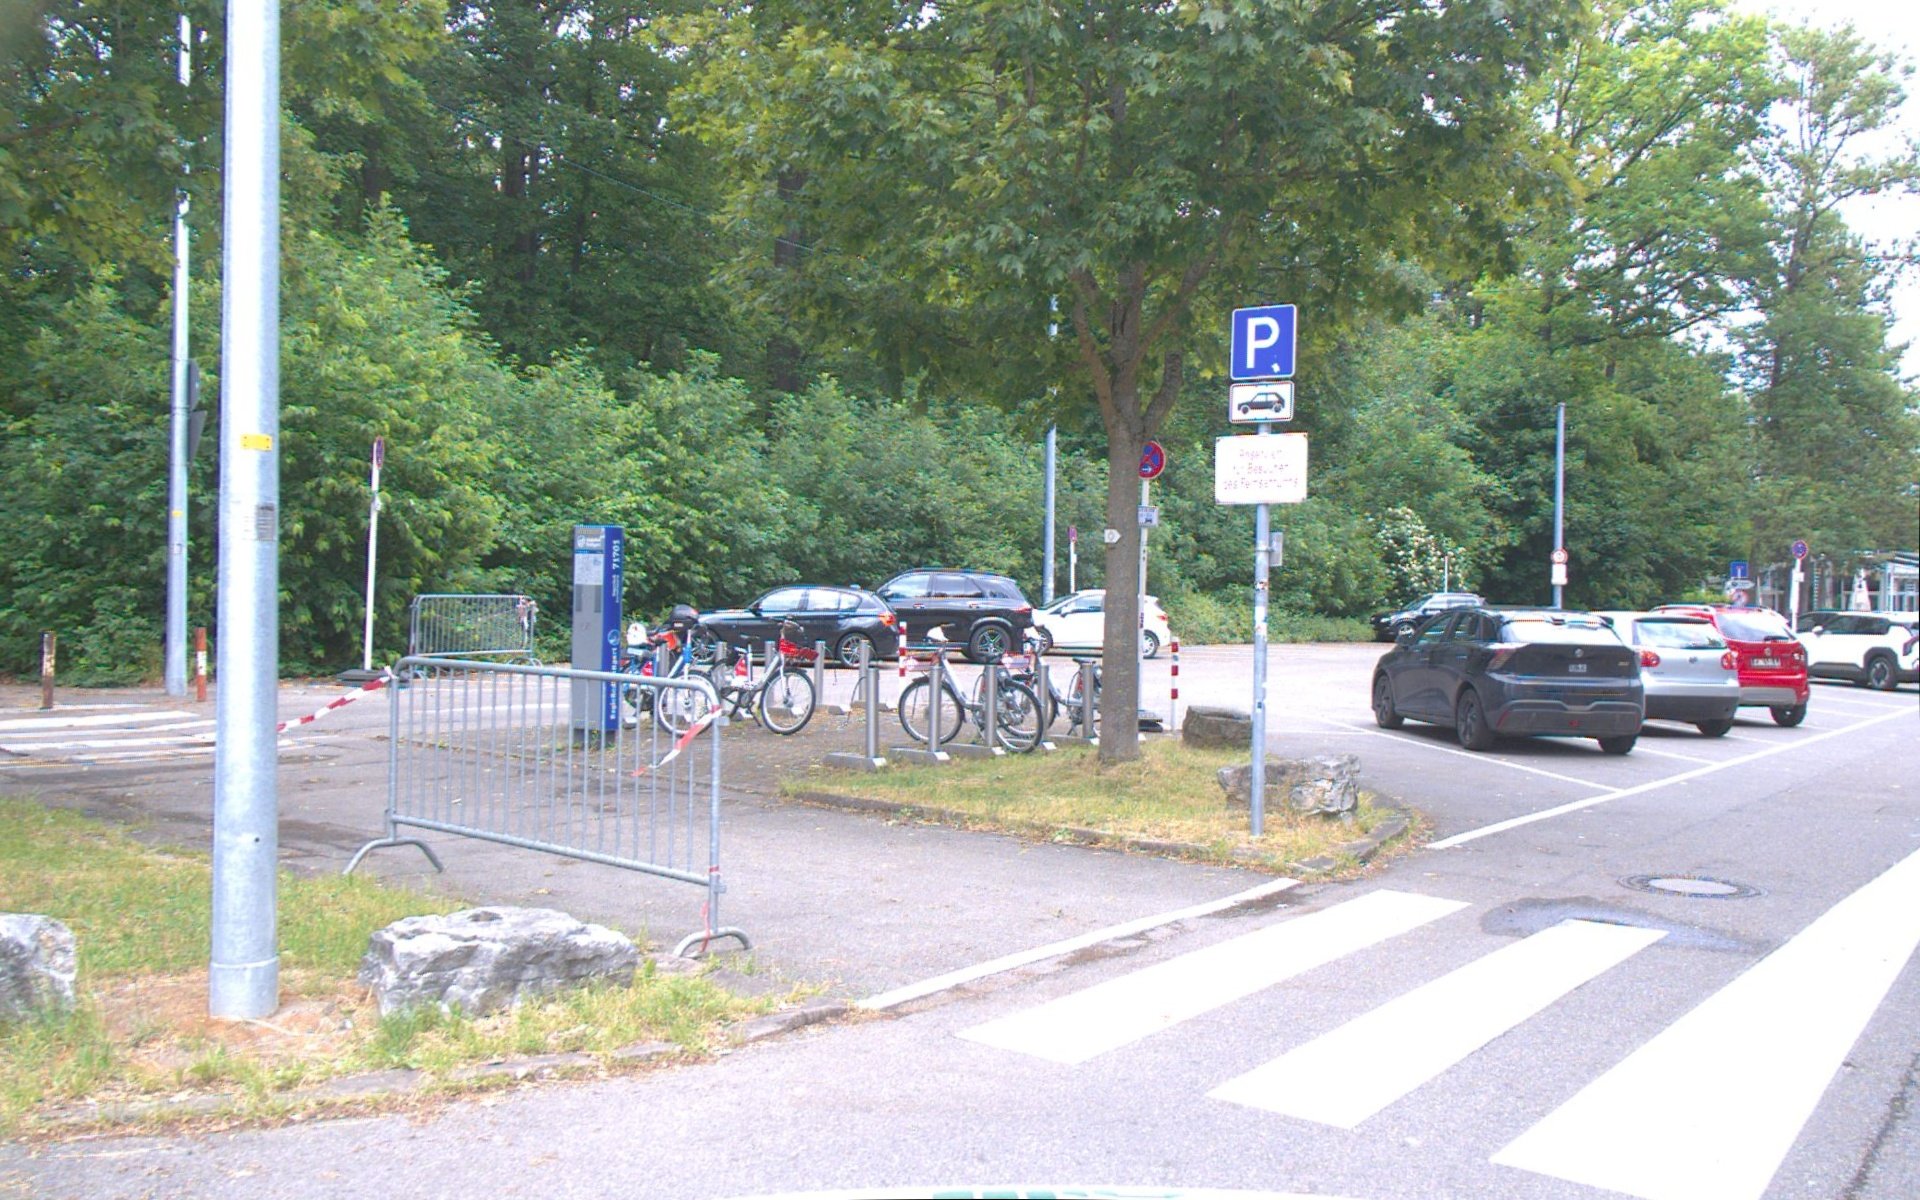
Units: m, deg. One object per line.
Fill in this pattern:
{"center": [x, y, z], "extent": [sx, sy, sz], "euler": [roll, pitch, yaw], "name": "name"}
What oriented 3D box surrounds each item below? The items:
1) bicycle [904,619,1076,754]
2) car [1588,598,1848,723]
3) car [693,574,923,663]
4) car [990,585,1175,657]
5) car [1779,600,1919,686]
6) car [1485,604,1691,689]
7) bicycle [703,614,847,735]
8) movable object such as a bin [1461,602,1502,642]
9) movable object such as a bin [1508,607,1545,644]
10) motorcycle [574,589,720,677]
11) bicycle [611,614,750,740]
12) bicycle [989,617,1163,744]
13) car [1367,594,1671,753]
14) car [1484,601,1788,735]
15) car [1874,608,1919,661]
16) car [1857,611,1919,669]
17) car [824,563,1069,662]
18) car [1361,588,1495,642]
{"center": [0.257, 0.769, 15.284], "extent": [1.655, 1.131, 0.480], "euler": [2, 0, 42], "name": "bicycle"}
{"center": [10.830, 0.808, 23.910], "extent": [1.650, 1.613, 3.646], "euler": [1, 0, -10], "name": "car"}
{"center": [-2.690, 0.319, 29.339], "extent": [3.910, 1.400, 1.737], "euler": [2, 0, -7], "name": "car"}
{"center": [2.752, 0.463, 37.680], "extent": [3.910, 1.537, 1.867], "euler": [1, 0, -7], "name": "car"}
{"center": [19.289, 0.862, 34.559], "extent": [1.807, 1.624, 4.181], "euler": [1, 0, -9], "name": "car"}
{"center": [12.114, 0.855, 32.230], "extent": [1.829, 1.467, 4.307], "euler": [1, 0, -10], "name": "car"}
{"center": [-1.902, 0.734, 16.870], "extent": [1.657, 1.131, 0.502], "euler": [2, 0, 45], "name": "bicycle"}
{"center": [19.425, 0.809, 61.586], "extent": [1.107, 1.450, 1.124], "euler": [1, 0, 41], "name": "movable object such as a bin"}
{"center": [21.012, 0.940, 61.351], "extent": [1.099, 1.337, 1.185], "euler": [1, 0, 8], "name": "movable object such as a bin"}
{"center": [-4.659, 0.478, 24.670], "extent": [1.980, 1.229, 0.731], "euler": [2, 0, 3], "name": "motorcycle"}
{"center": [-2.767, 0.728, 16.252], "extent": [0.479, 1.131, 1.670], "euler": [2, 0, -43], "name": "bicycle"}
{"center": [1.117, 0.763, 16.215], "extent": [1.757, 1.131, 0.480], "euler": [2, 0, 42], "name": "bicycle"}
{"center": [6.167, 0.736, 18.769], "extent": [1.789, 1.549, 4.097], "euler": [2, 0, -4], "name": "car"}
{"center": [8.668, 0.818, 21.609], "extent": [1.836, 1.509, 3.991], "euler": [2, 0, -9], "name": "car"}
{"center": [27.849, 0.998, 46.283], "extent": [1.721, 1.468, 4.270], "euler": [1, 0, -9], "name": "car"}
{"center": [25.847, 1.089, 43.845], "extent": [1.733, 1.468, 3.841], "euler": [2, 0, -6], "name": "car"}
{"center": [-0.320, 0.232, 32.553], "extent": [4.603, 1.798, 2.109], "euler": [1, 0, -7], "name": "car"}
{"center": [15.915, 0.495, 56.360], "extent": [3.980, 1.714, 1.878], "euler": [2, 0, -6], "name": "car"}
